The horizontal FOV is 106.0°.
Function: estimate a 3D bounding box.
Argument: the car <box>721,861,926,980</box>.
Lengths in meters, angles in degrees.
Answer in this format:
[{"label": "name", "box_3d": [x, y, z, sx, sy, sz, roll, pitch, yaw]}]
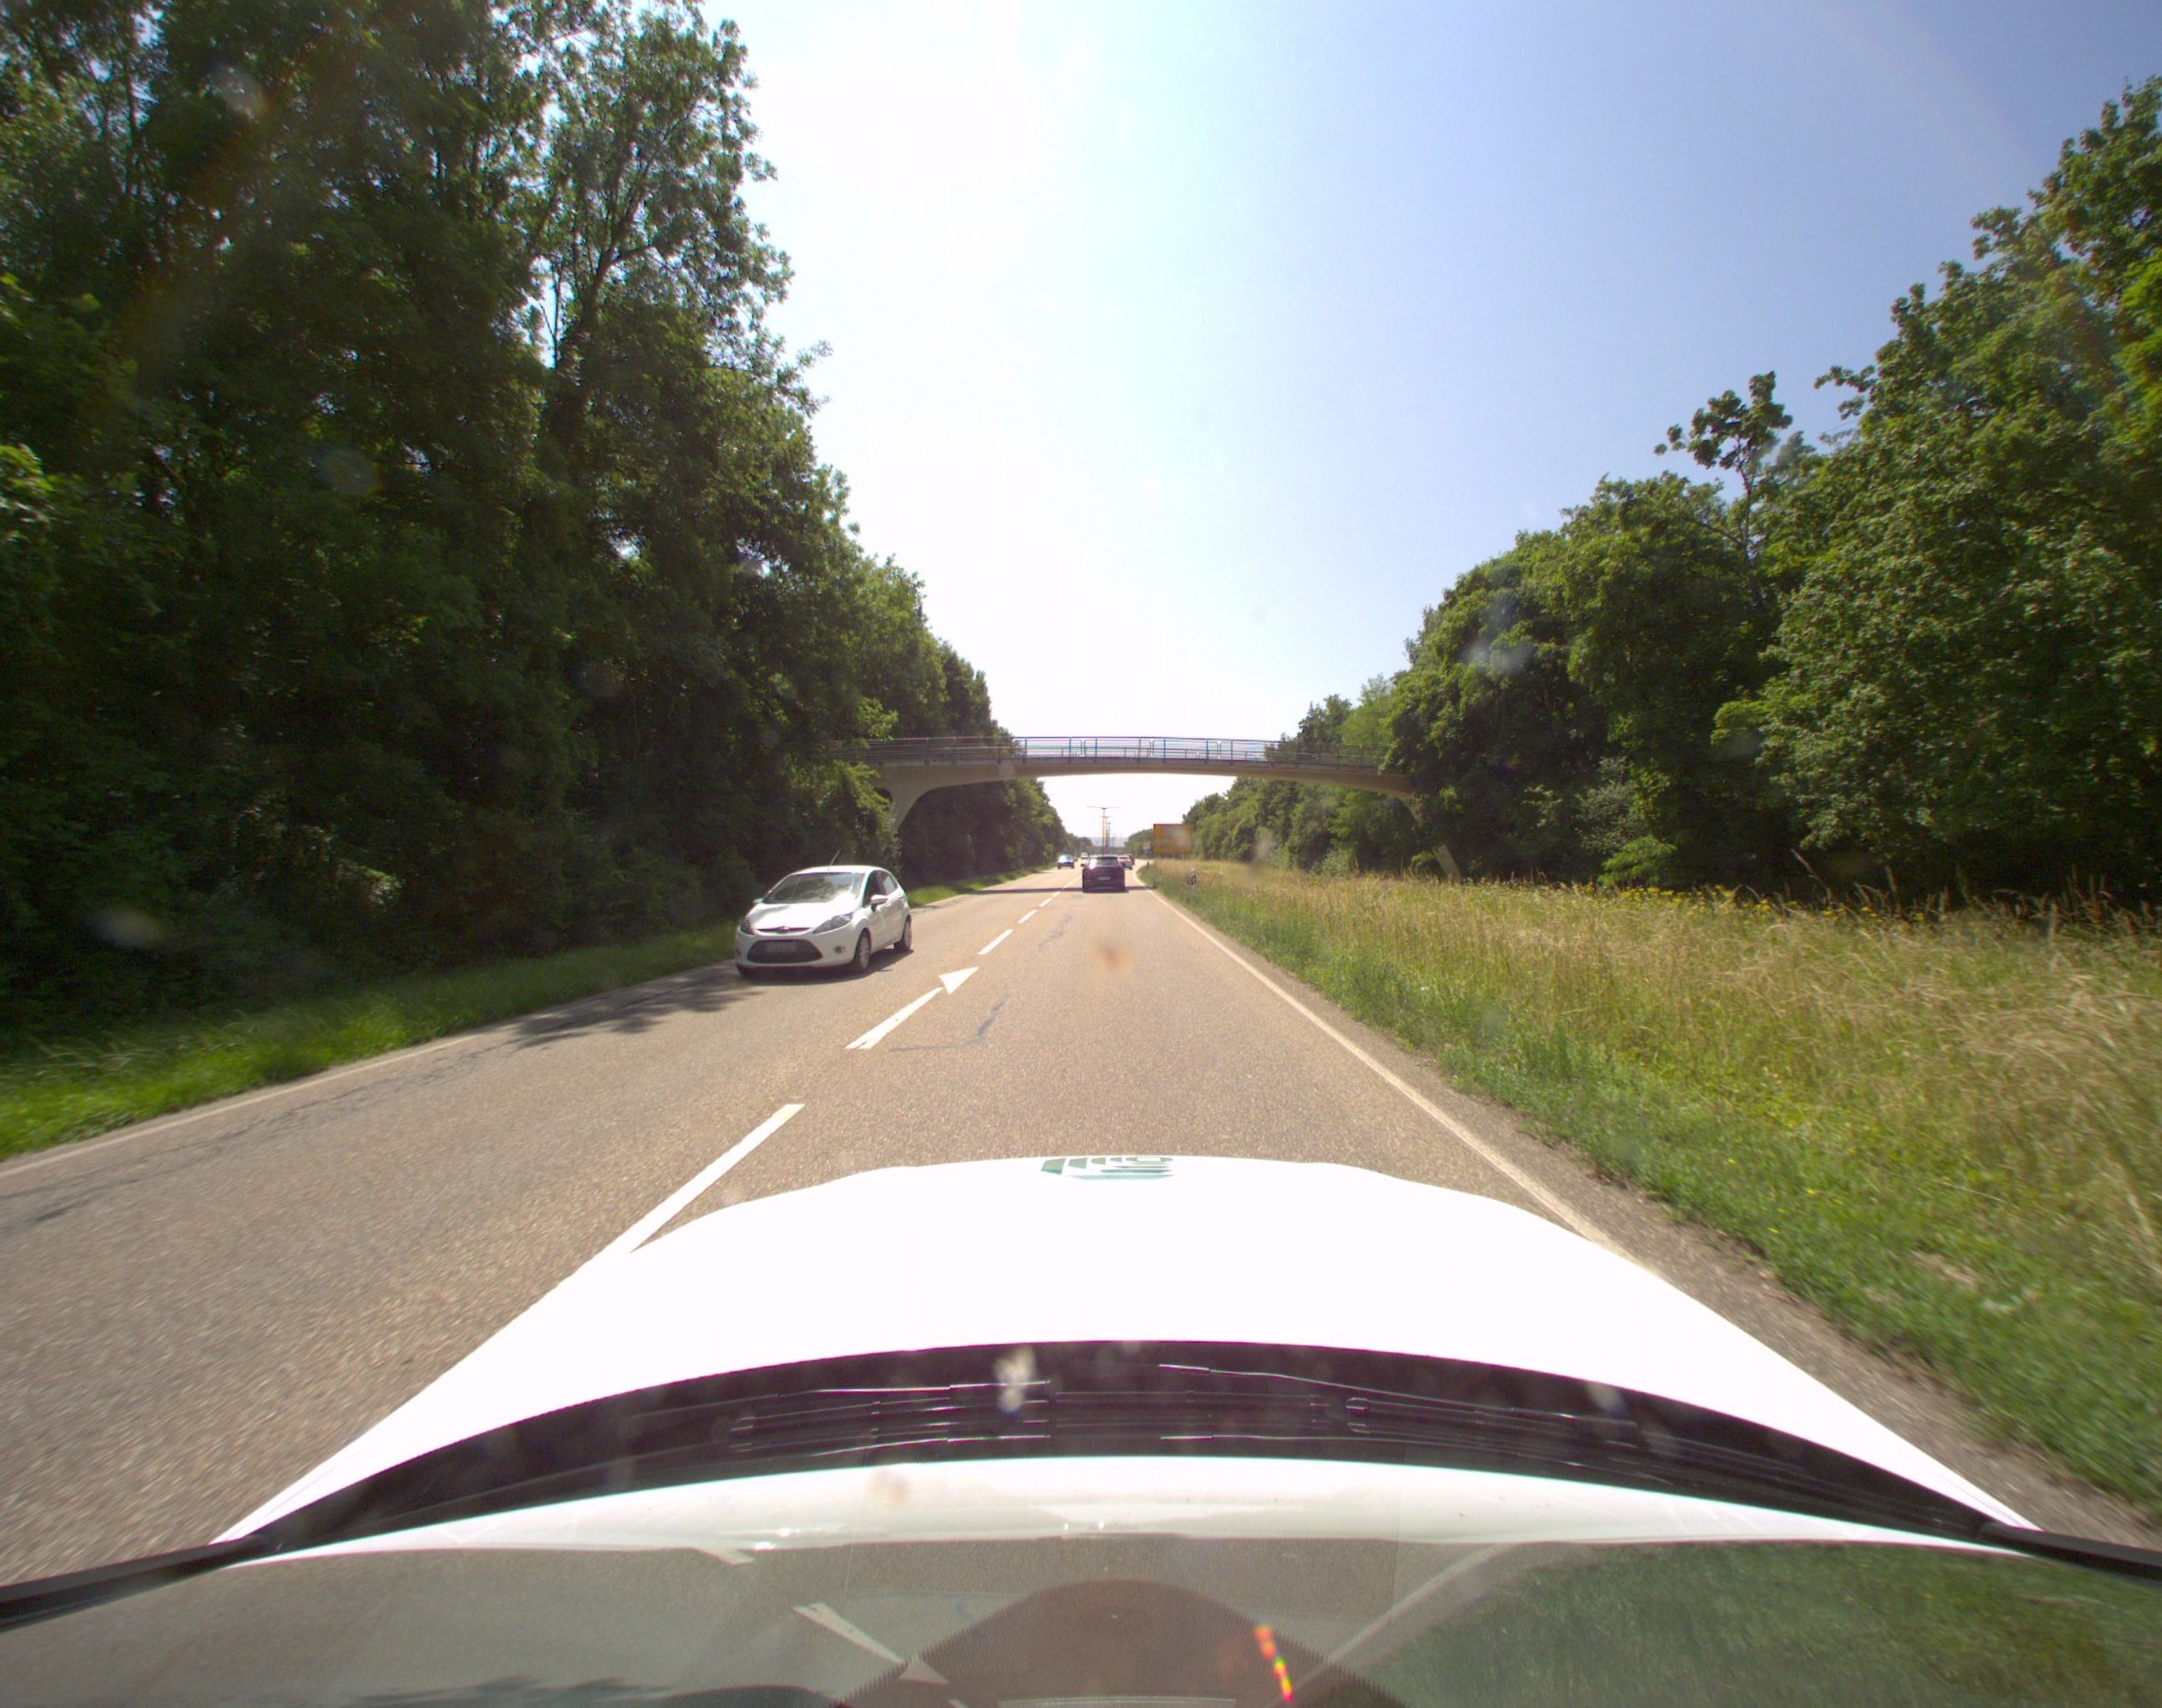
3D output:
[{"label": "car", "box_3d": [-3.641, 0.860, 12.245, 1.671, 1.433, 3.775, -2, 0, 3]}]

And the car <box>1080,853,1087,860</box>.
[{"label": "car", "box_3d": [0.762, 0.628, 212.614, 1.725, 1.688, 4.096, -2, 0, 1]}]

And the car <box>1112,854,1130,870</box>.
[{"label": "car", "box_3d": [4.257, 0.845, 85.891, 1.789, 1.583, 4.004, -1, 0, 4]}]

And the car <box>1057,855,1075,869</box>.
[{"label": "car", "box_3d": [-1.777, 0.947, 98.455, 1.816, 1.590, 4.421, -2, 0, 2]}]

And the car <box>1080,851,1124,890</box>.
[{"label": "car", "box_3d": [0.929, 0.666, 34.632, 1.748, 1.556, 4.002, 0, 0, 2]}]
